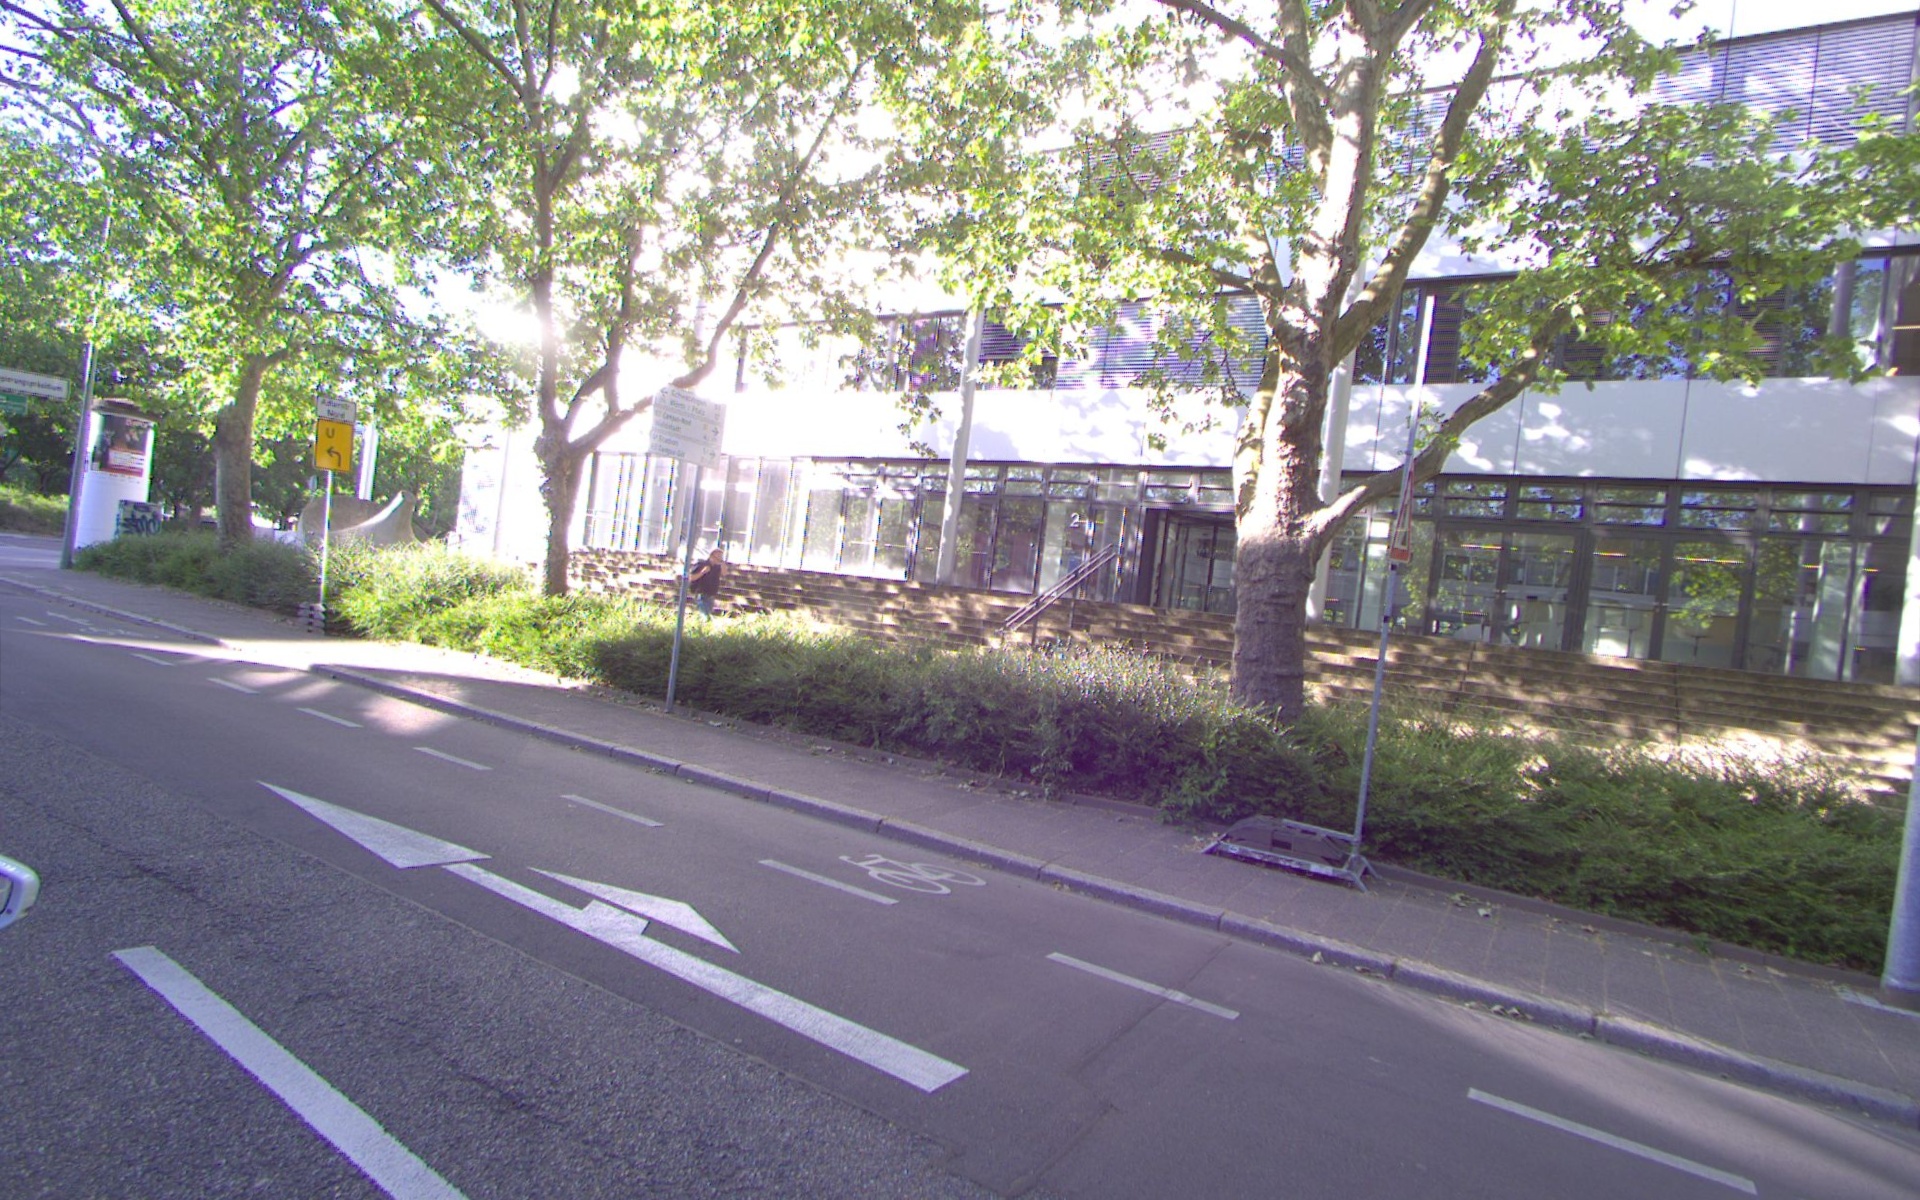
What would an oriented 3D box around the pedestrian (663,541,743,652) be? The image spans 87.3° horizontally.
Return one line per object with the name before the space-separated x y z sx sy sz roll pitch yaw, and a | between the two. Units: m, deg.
pedestrian | -4.492 -0.062 17.618 0.848 1.802 0.785 7 0 30
